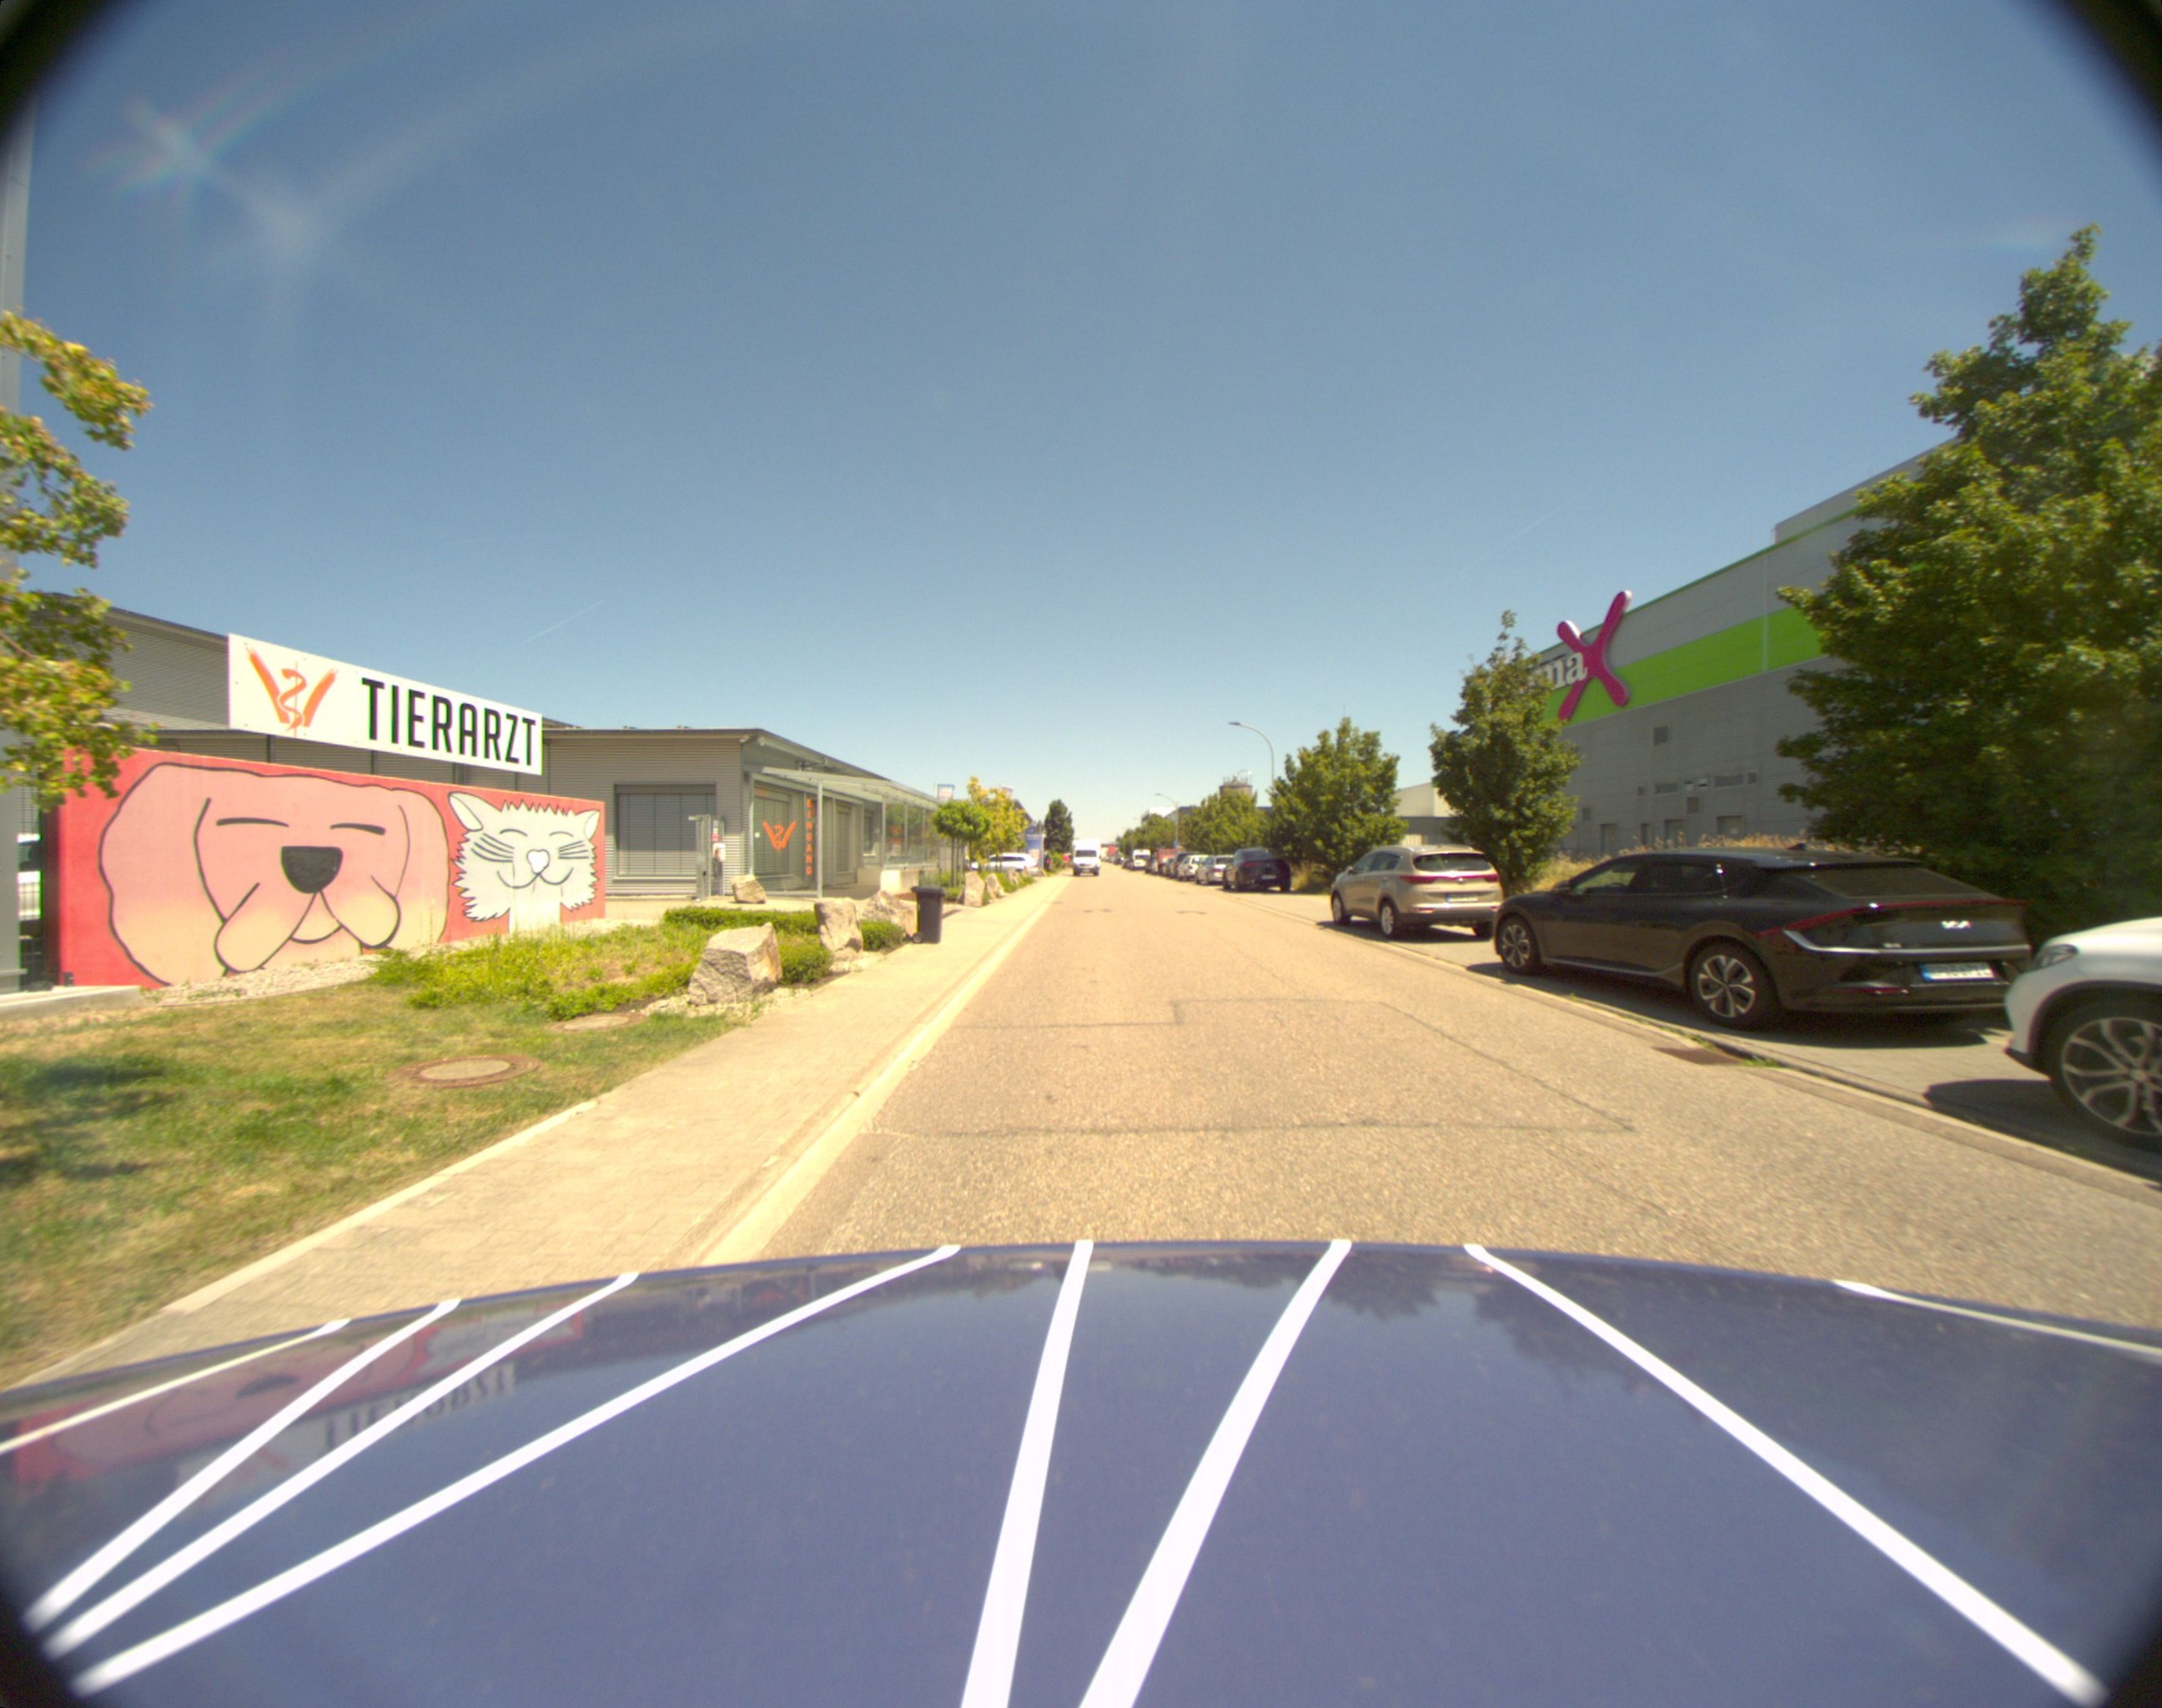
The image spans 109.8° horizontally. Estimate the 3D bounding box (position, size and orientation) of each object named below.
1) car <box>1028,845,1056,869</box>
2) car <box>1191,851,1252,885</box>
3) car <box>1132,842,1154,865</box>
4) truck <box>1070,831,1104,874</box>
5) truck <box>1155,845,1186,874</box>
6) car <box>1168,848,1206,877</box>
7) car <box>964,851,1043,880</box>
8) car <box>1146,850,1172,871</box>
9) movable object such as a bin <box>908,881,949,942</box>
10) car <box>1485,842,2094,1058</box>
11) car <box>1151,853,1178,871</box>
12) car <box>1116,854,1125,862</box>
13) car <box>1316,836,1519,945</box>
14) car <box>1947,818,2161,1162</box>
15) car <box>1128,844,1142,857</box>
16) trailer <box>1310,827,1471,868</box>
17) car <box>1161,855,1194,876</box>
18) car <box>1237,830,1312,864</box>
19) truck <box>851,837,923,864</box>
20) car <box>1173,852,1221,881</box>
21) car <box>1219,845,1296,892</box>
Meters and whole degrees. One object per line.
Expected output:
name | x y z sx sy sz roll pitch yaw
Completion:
car | -3.359 0.238 66.566 1.998 2.002 5.337 0 0 1
car | 6.878 0.645 37.726 1.856 1.510 5.165 -2 0 -2
car | 7.537 -0.049 92.595 2.328 2.583 6.085 -2 0 2
truck | 0.540 -0.139 59.889 2.463 3.187 6.883 0 0 2
truck | 7.073 0.403 60.641 1.856 2.210 4.645 -2 0 0
car | 6.818 0.513 49.419 1.856 1.748 4.987 -2 0 2
car | -4.346 0.633 43.177 4.291 1.532 1.912 1 1 -2
car | 7.302 0.549 71.737 1.979 1.889 5.402 0 0 1
movable object such as a bin | -2.481 0.925 12.412 0.560 0.941 0.539 1 1 -1
car | 6.277 0.673 7.655 1.918 1.483 4.411 -2 0 -2
car | 7.133 0.664 65.337 1.856 1.542 3.766 0 0 -1
car | 8.549 0.906 163.986 1.798 1.638 3.831 0 0 0
car | 6.129 0.577 14.515 1.917 1.703 4.412 -2 0 0
car | 6.130 0.664 2.157 1.917 1.646 4.754 0 0 0
car | 7.730 -0.471 109.303 1.835 1.800 4.082 -2 0 2
trailer | 32.018 -0.670 79.166 15.357 4.064 3.219 1 1 2
car | 6.996 0.786 55.270 1.856 1.435 4.753 0 0 1
car | 17.130 -0.625 67.553 5.989 2.808 2.521 -1 1 0
truck | -17.535 -0.326 68.970 5.947 2.357 2.181 1 1 2
car | 6.598 0.648 43.750 1.856 1.510 4.903 -2 0 -2
car | 7.005 0.526 30.725 1.996 1.703 5.007 -2 0 1
